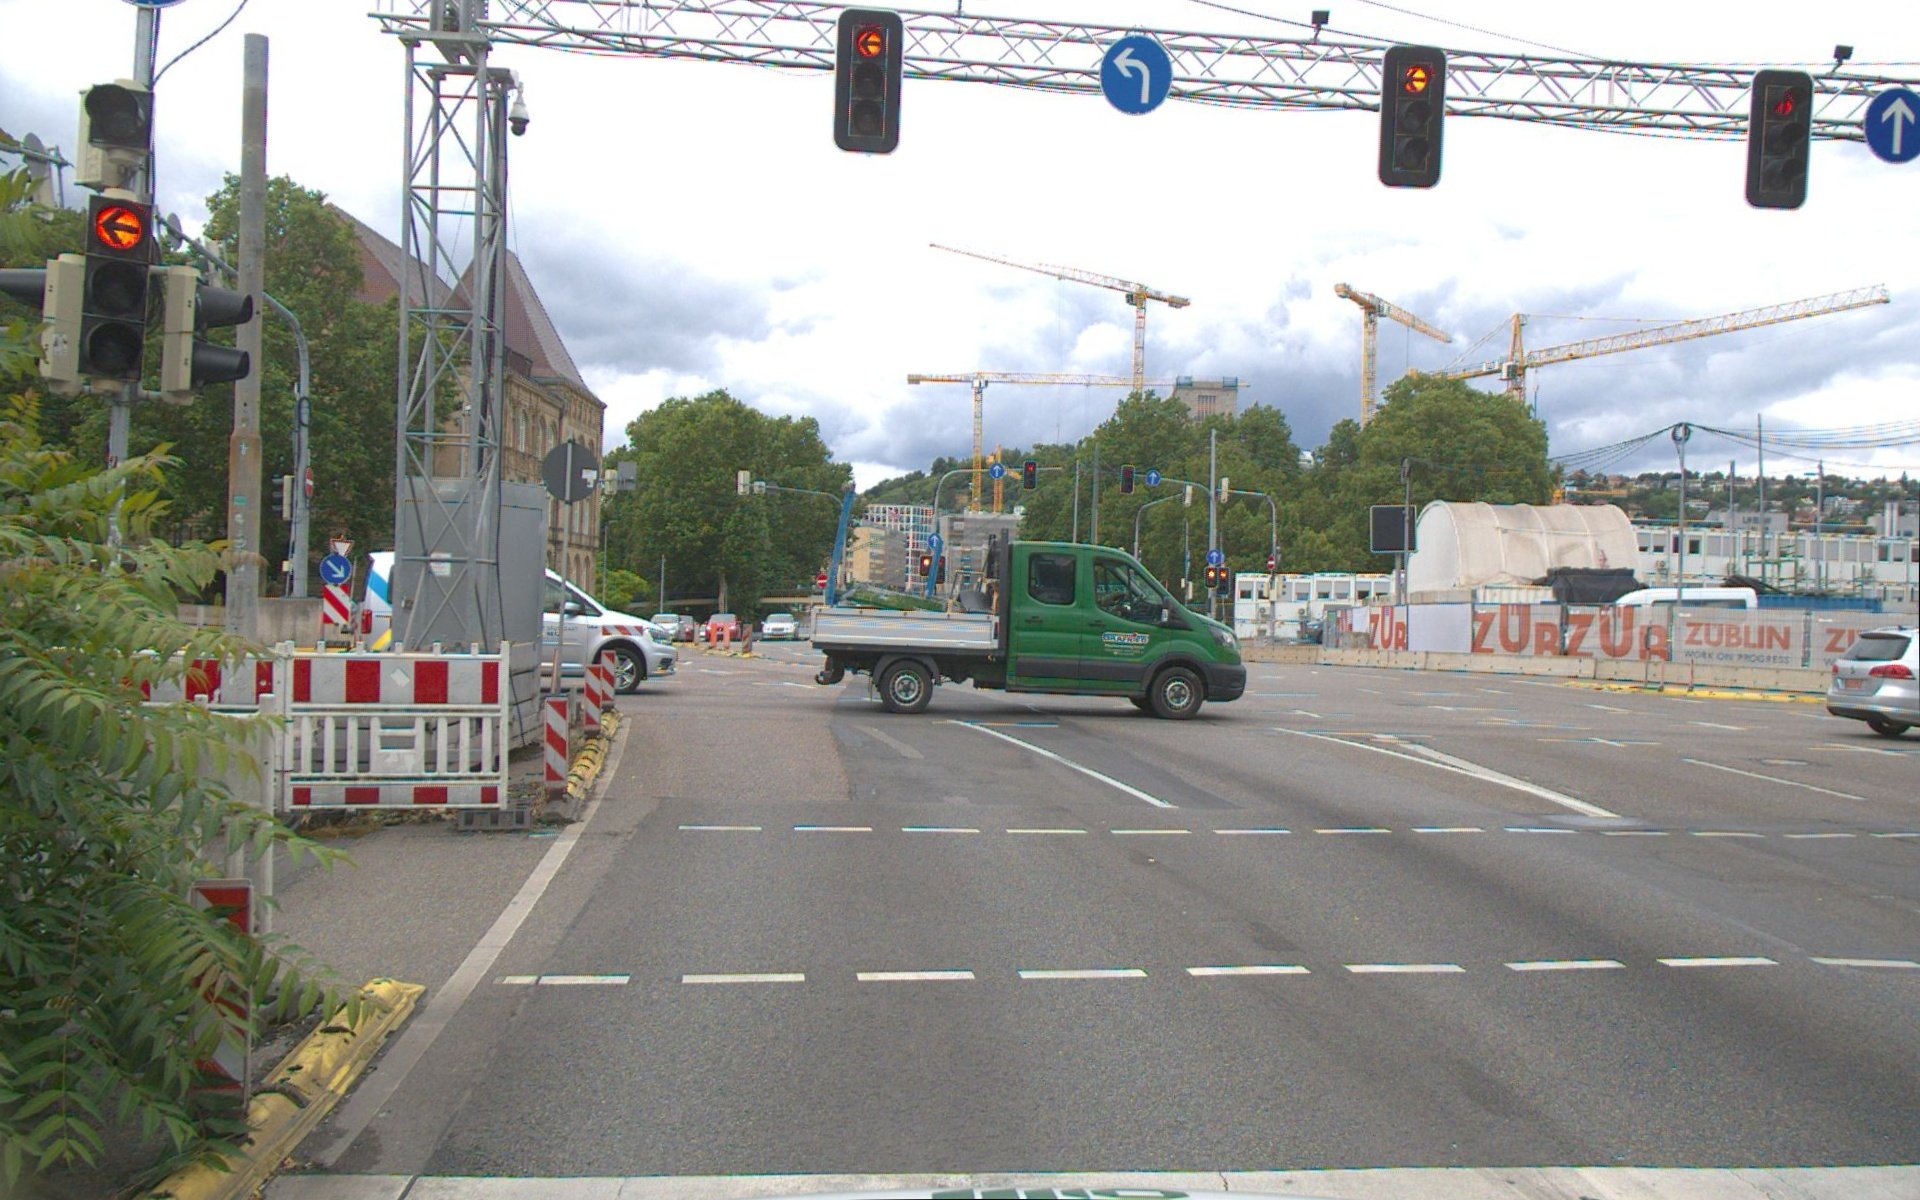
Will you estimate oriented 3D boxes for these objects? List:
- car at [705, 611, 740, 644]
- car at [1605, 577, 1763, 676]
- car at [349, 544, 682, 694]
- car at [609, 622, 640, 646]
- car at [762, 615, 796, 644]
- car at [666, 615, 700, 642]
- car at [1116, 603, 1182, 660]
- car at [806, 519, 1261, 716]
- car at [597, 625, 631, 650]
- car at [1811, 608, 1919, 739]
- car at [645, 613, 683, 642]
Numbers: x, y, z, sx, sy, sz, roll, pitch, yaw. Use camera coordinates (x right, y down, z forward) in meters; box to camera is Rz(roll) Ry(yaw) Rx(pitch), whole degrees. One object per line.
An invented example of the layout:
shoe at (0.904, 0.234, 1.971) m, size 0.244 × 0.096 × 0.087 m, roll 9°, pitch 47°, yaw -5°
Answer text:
car at (-12.126, 1.372, 84.518) m, size 1.644 × 1.608 × 3.677 m, roll 1°, pitch 0°, yaw -7°
car at (20.820, 0.742, 47.682) m, size 3.902 × 2.708 × 1.683 m, roll 1°, pitch 0°, yaw 13°
car at (-6.033, 0.279, 22.564) m, size 4.201 × 1.915 × 1.821 m, roll 1°, pitch 0°, yaw -18°
car at (-21.926, 2.235, 108.170) m, size 1.644 × 1.423 × 3.676 m, roll 0°, pitch -4°, yaw -7°
car at (-9.299, 1.515, 84.893) m, size 1.644 × 1.422 × 3.677 m, roll 1°, pitch 0°, yaw -7°
car at (-15.299, 1.541, 91.538) m, size 1.644 × 1.422 × 3.677 m, roll 1°, pitch 0°, yaw -7°
car at (6.038, 0.992, 53.128) m, size 1.642 × 1.732 × 3.374 m, roll 1°, pitch 0°, yaw -1°
car at (0.852, 0.238, 21.633) m, size 5.647 × 2.345 × 2.301 m, roll 1°, pitch 0°, yaw -6°
car at (-20.978, 2.235, 100.300) m, size 1.644 × 1.422 × 3.677 m, roll 1°, pitch 0°, yaw -7°
car at (14.043, 0.980, 22.010) m, size 4.615 × 1.653 × 1.681 m, roll 1°, pitch 0°, yaw -2°
car at (-15.259, 1.413, 85.379) m, size 1.644 × 1.422 × 3.677 m, roll 1°, pitch 0°, yaw -7°
